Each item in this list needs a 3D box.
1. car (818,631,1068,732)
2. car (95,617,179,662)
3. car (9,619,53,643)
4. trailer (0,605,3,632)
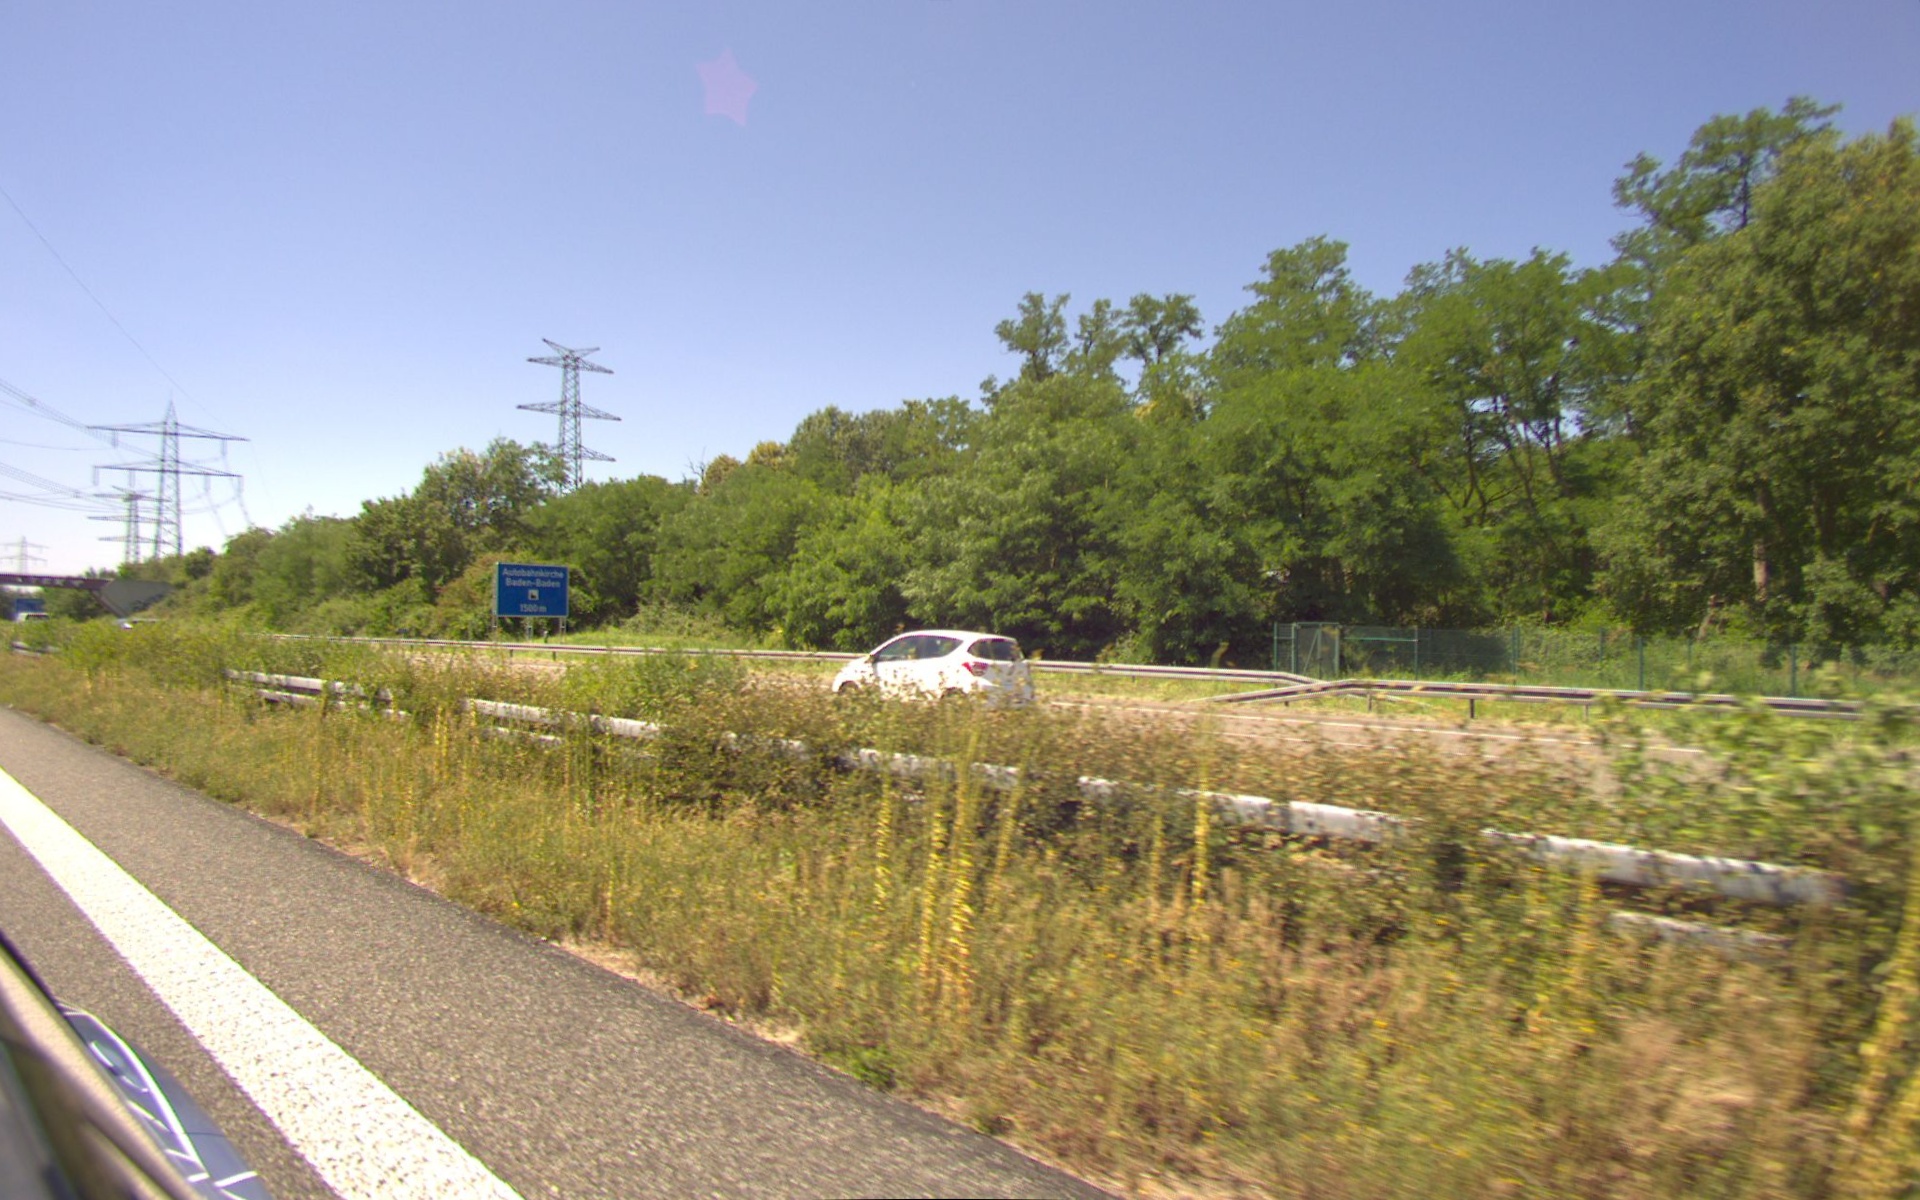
[{"bbox_3d":[-0.359,1.262,16.838,3.998,1.460,1.788,-1,-3,41],"label":"car"},{"bbox_3d":[-31.427,1.482,38.621,3.998,1.614,1.794,-1,-3,41],"label":"car"},{"bbox_3d":[-78.899,2.656,85.937,5.409,1.947,1.973,-1,-4,40],"label":"car"},{"bbox_3d":[-139.317,2.639,144.328,12.711,3.716,2.844,-1,-3,41],"label":"trailer"}]
